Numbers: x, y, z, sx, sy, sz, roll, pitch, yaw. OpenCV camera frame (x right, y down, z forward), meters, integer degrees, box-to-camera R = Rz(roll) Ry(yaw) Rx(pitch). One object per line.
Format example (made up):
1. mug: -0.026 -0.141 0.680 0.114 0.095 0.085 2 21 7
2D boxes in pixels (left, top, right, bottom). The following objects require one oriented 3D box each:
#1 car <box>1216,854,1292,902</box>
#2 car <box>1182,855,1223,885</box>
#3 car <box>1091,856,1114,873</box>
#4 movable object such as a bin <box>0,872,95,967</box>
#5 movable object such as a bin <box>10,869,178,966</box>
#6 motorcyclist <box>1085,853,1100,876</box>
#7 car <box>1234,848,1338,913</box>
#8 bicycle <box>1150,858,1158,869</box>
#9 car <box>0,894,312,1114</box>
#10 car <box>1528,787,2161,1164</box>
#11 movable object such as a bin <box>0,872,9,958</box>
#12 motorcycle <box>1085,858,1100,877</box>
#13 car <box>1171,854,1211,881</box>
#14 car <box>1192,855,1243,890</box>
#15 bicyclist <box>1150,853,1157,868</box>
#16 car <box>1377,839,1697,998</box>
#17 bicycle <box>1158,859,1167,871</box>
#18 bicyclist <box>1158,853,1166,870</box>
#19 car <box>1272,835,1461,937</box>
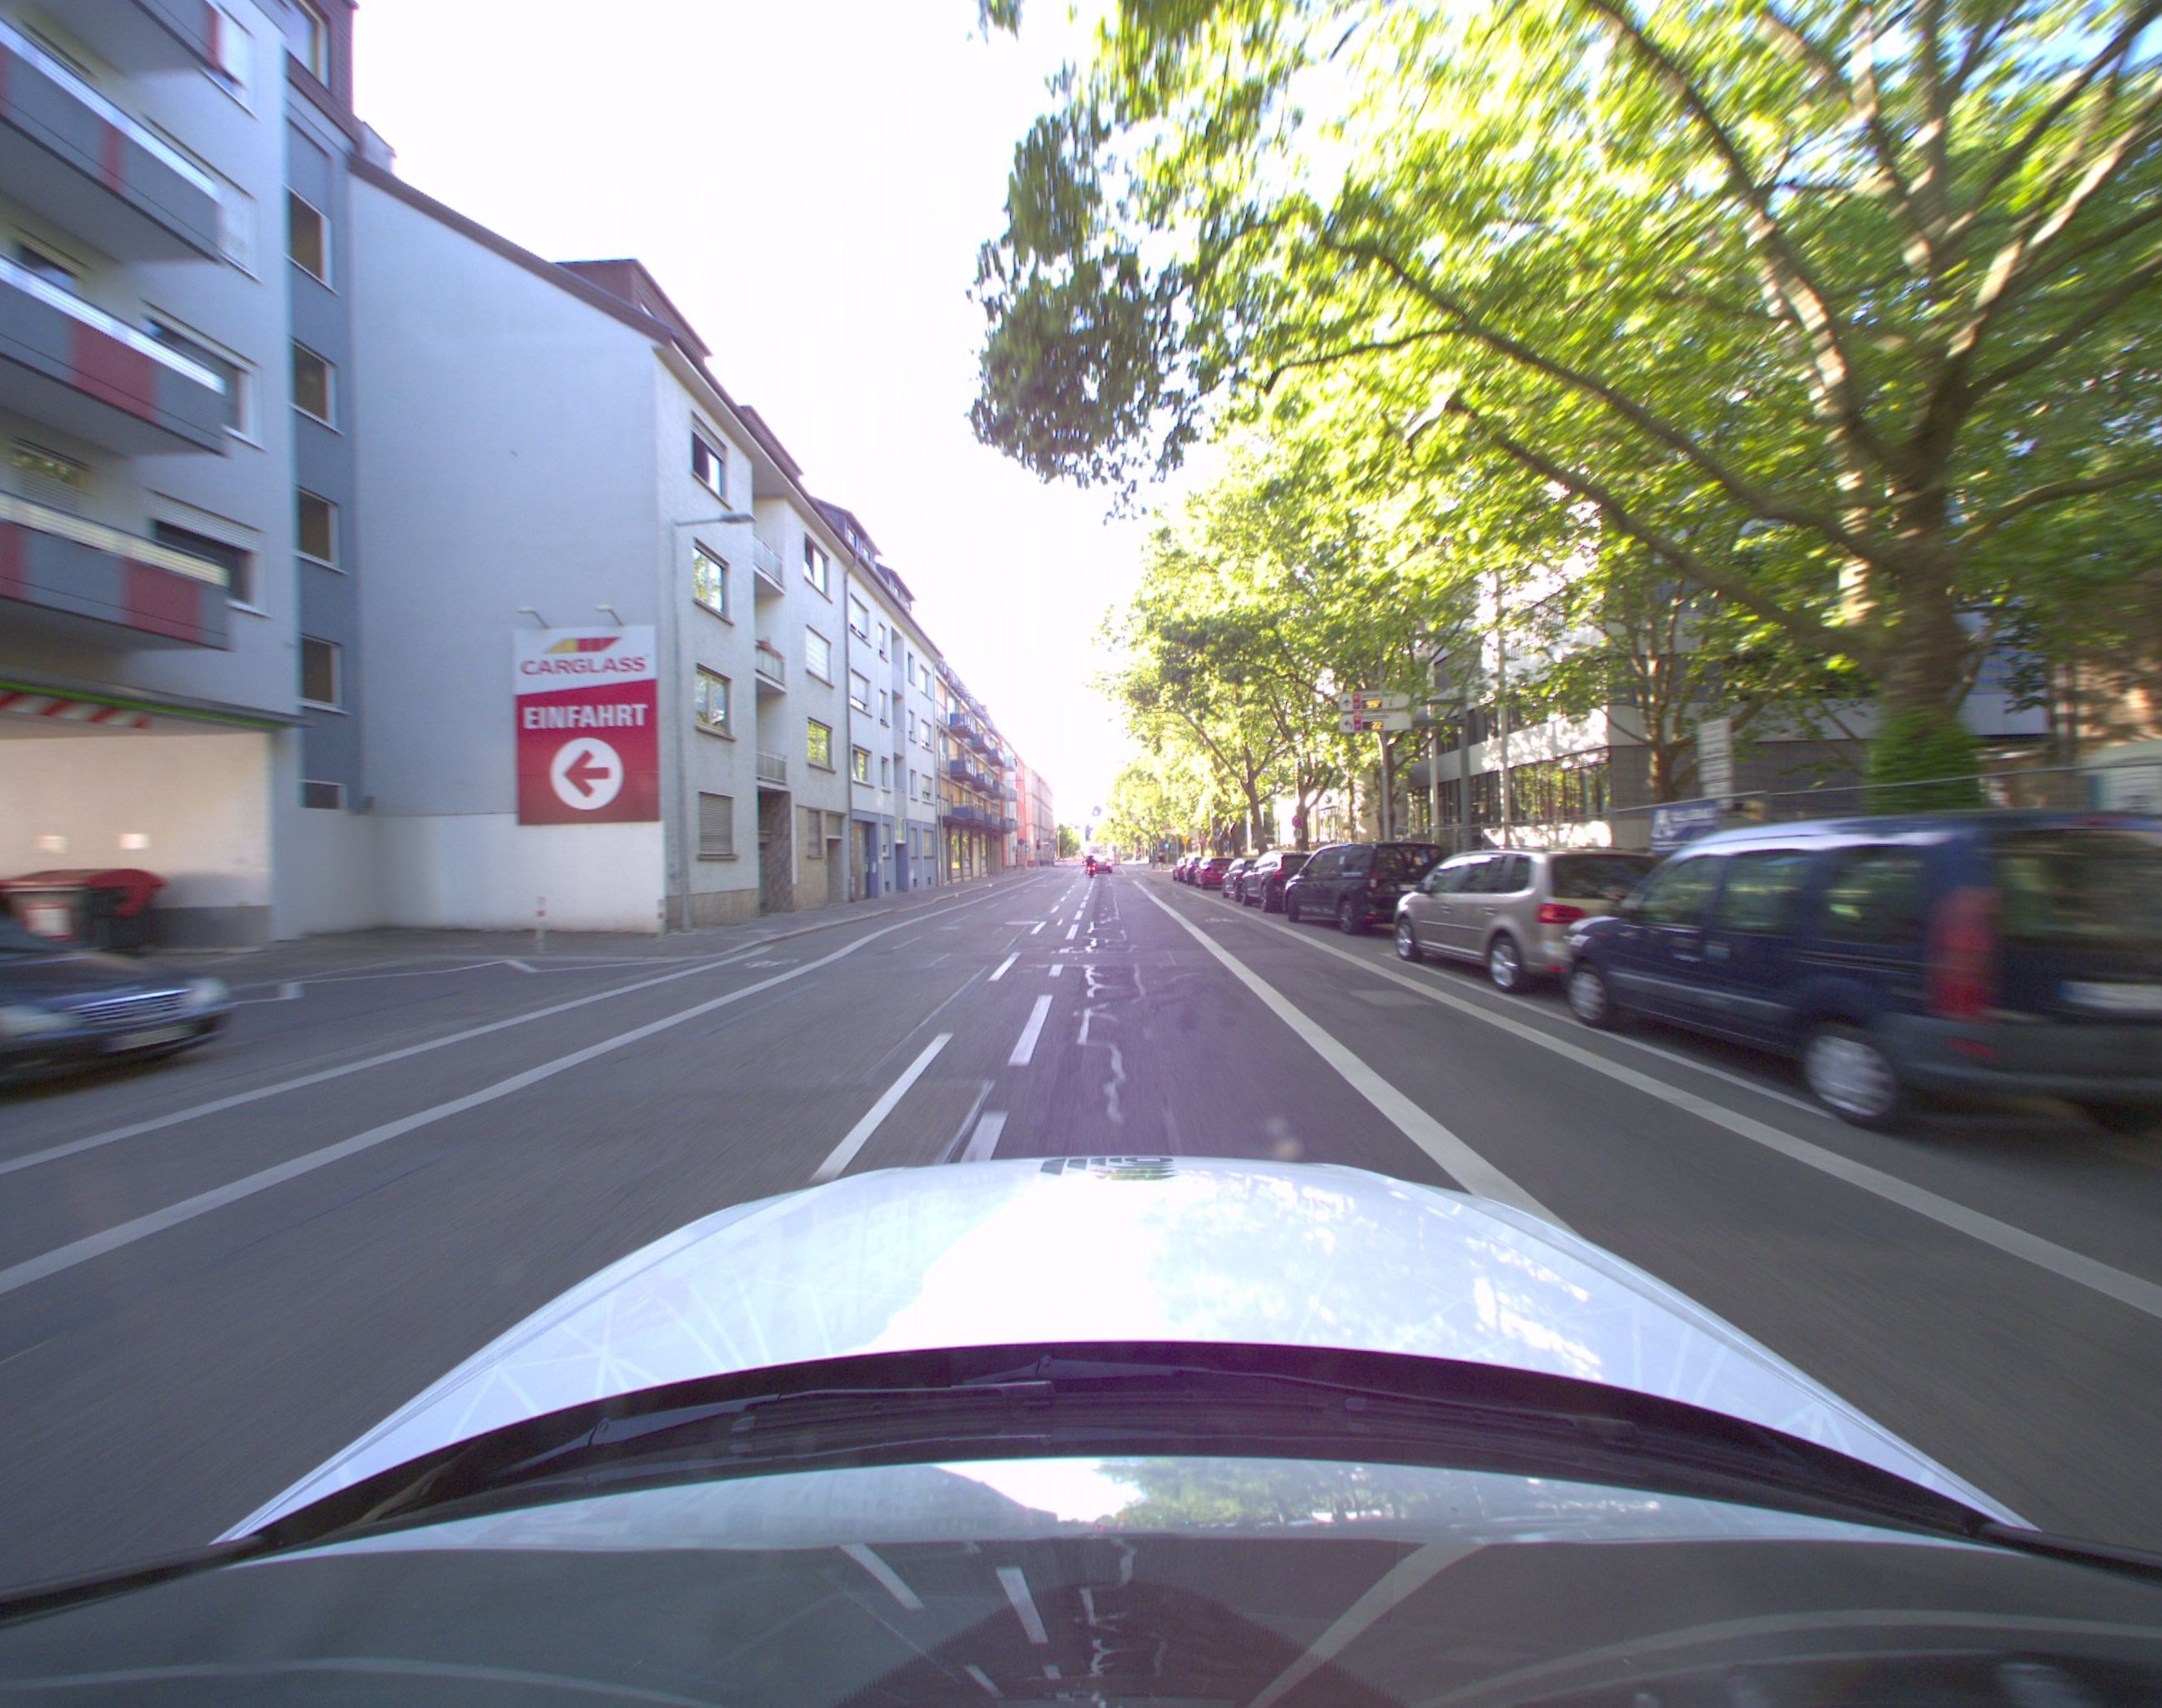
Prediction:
1. car: 5.801 0.749 27.790 1.688 1.503 4.018 1 0 -1
2. car: 6.289 0.808 42.604 1.686 1.466 4.068 1 0 2
3. car: 1.782 0.865 68.714 1.822 1.420 3.815 -1 0 1
4. movable object such as a bin: -16.830 1.014 12.811 1.273 1.401 1.090 -2 0 1
5. movable object such as a bin: -15.494 0.971 12.831 1.273 1.401 1.090 -2 0 1
6. motorcyclist: 0.807 0.754 57.656 1.009 1.602 1.406 -2 0 1
7. car: 5.631 0.665 22.958 1.770 1.628 4.620 1 0 0
8. bicycle: 7.585 1.020 84.997 0.654 1.111 2.186 0 -1 1
9. car: -9.250 1.054 6.529 4.213 1.380 2.046 0 -1 1
10. car: 5.181 0.588 6.001 1.686 1.813 4.133 1 0 3
11. movable object such as a bin: -18.266 1.018 12.834 1.273 1.401 1.090 -2 0 1
12. motorcycle: 0.820 0.938 57.462 1.008 1.306 2.673 -2 0 1
13. car: 6.347 0.746 47.457 1.688 1.449 4.434 1 0 -1
14. car: 6.157 0.790 37.078 1.686 1.479 4.320 1 0 2
15. bicyclist: 7.584 0.701 85.063 0.654 1.530 0.906 0 -1 1
16. car: 5.478 0.666 10.538 1.688 1.628 4.328 1 0 -1
17. bicycle: 7.594 1.024 76.216 0.654 1.070 1.927 0 -1 1
18. bicyclist: 7.591 0.684 76.192 0.654 1.530 0.852 0 -1 1
19. car: 5.787 0.588 17.264 1.823 1.841 4.888 1 0 -7
